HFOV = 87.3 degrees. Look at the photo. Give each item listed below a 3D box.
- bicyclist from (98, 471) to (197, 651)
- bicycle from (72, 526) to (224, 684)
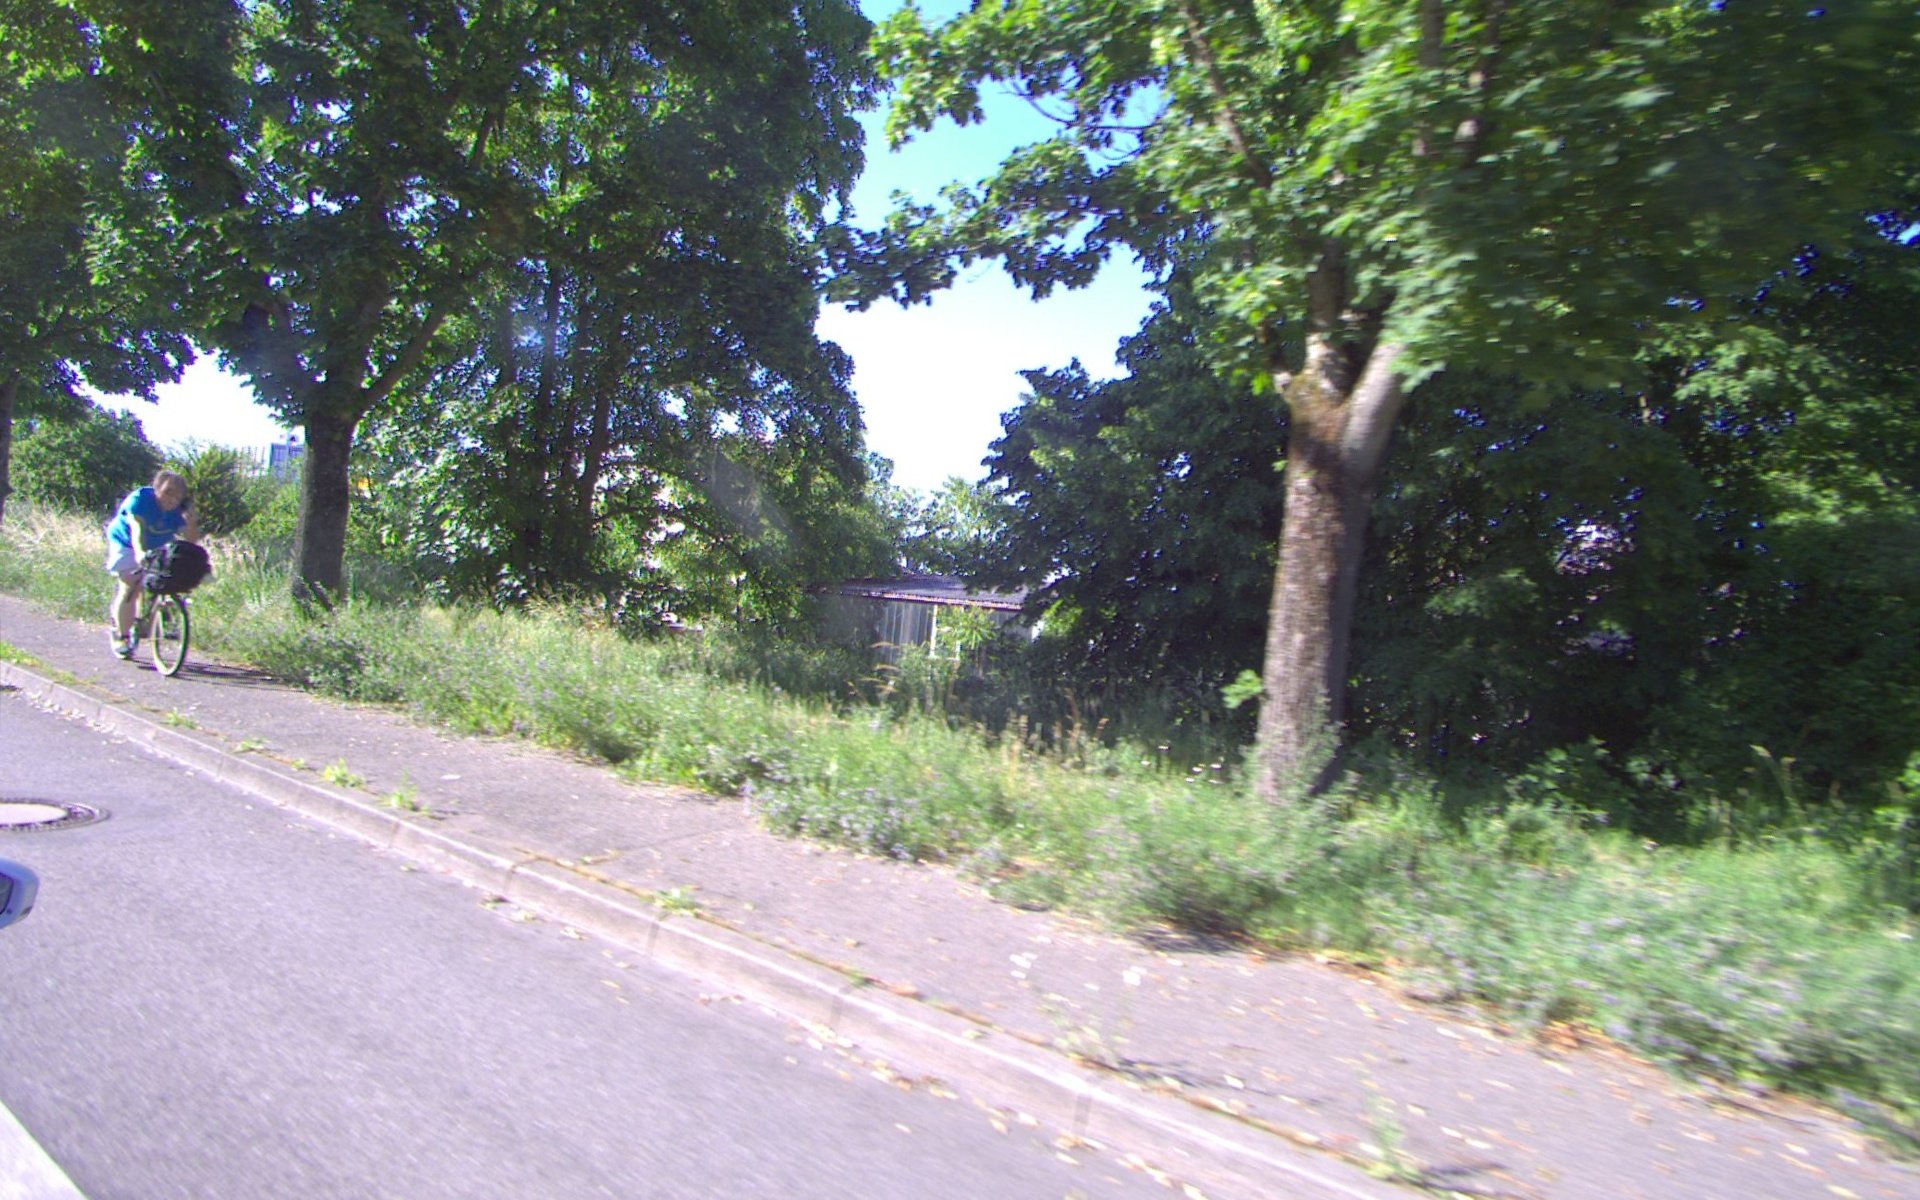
[{"bbox_3d":[-7.213,-0.341,8.929,0.565,1.525,0.405,7,1,31],"label":"bicyclist"},{"bbox_3d":[-7.191,0.025,8.887,1.693,1.203,0.418,7,1,31],"label":"bicycle"}]
